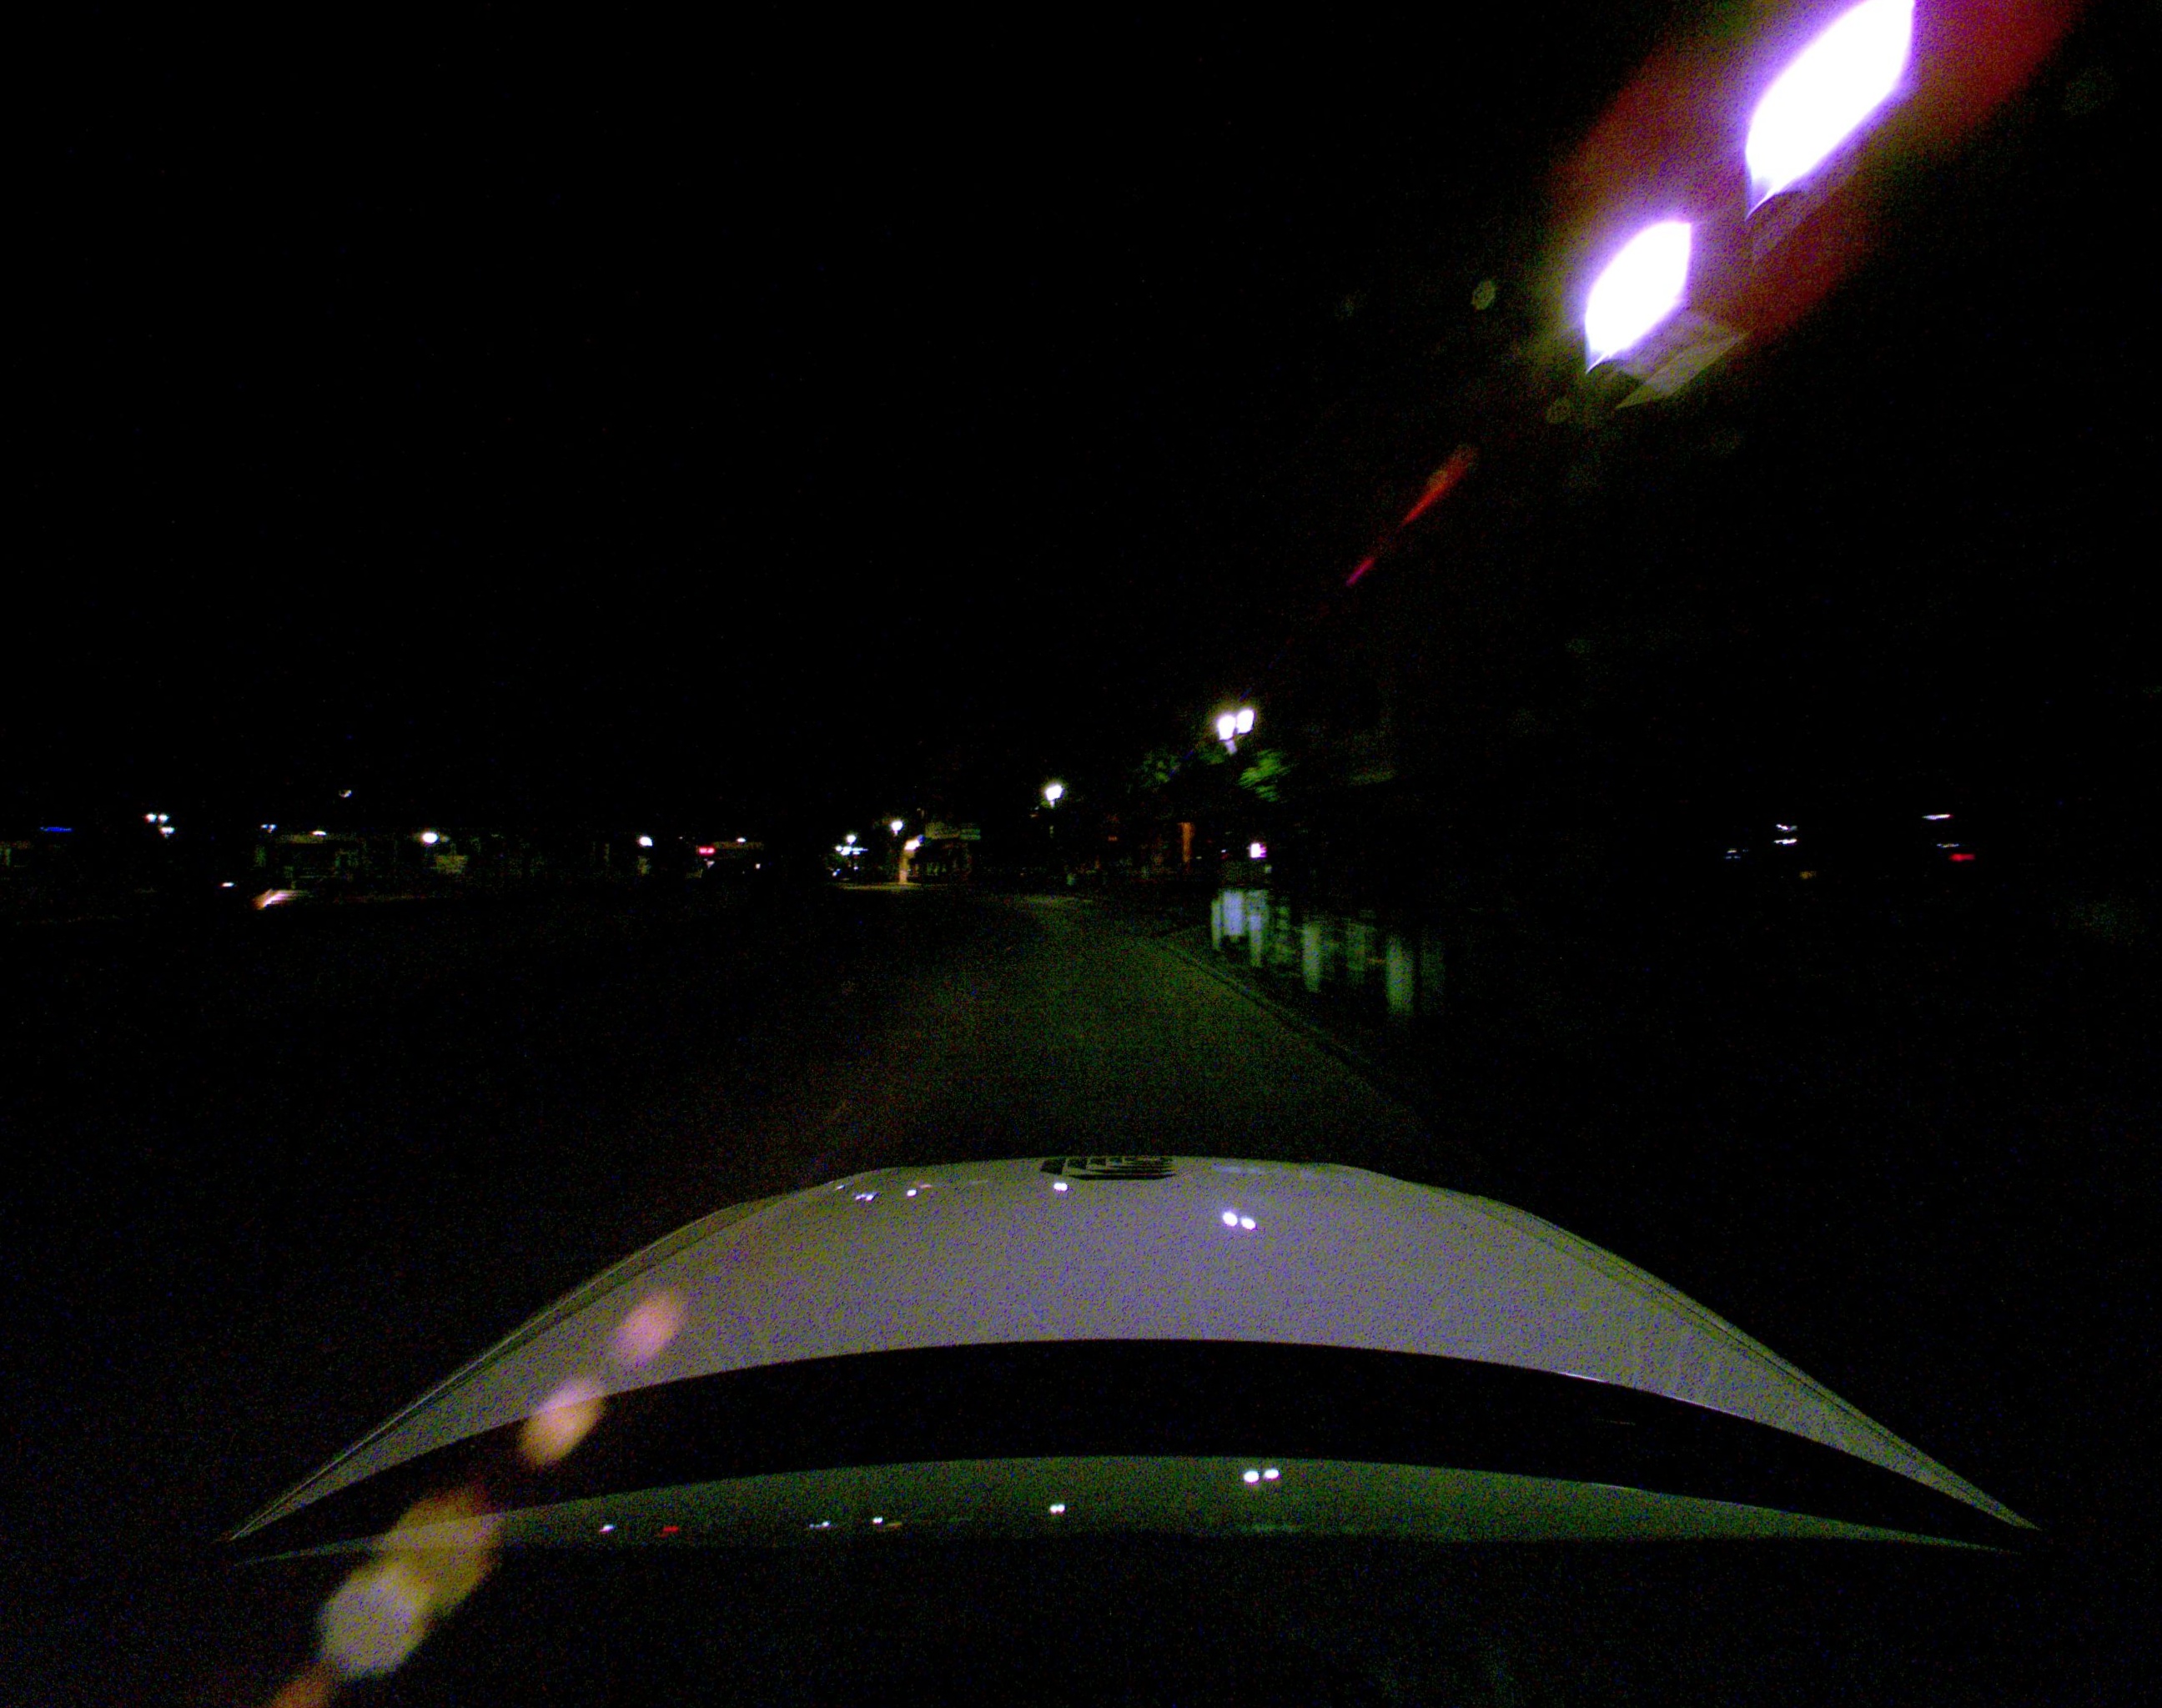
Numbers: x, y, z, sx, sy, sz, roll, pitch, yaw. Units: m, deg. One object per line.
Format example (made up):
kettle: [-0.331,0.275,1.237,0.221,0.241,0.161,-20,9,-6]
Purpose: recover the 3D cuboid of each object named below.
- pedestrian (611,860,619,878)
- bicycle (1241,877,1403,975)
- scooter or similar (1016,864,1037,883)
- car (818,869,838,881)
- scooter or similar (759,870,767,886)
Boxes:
pedestrian: [-39.474,1.287,68.994,0.475,1.546,0.463,-1,0,35]
bicycle: [2.813,0.805,9.531,1.752,1.062,0.652,0,0,-15]
scooter or similar: [-3.562,1.299,53.520,1.249,1.227,0.595,2,0,-18]
car: [-31.637,2.626,101.639,1.843,1.358,3.967,-1,0,-25]
scooter or similar: [-22.668,1.722,58.001,0.432,1.134,0.996,-1,0,-25]
